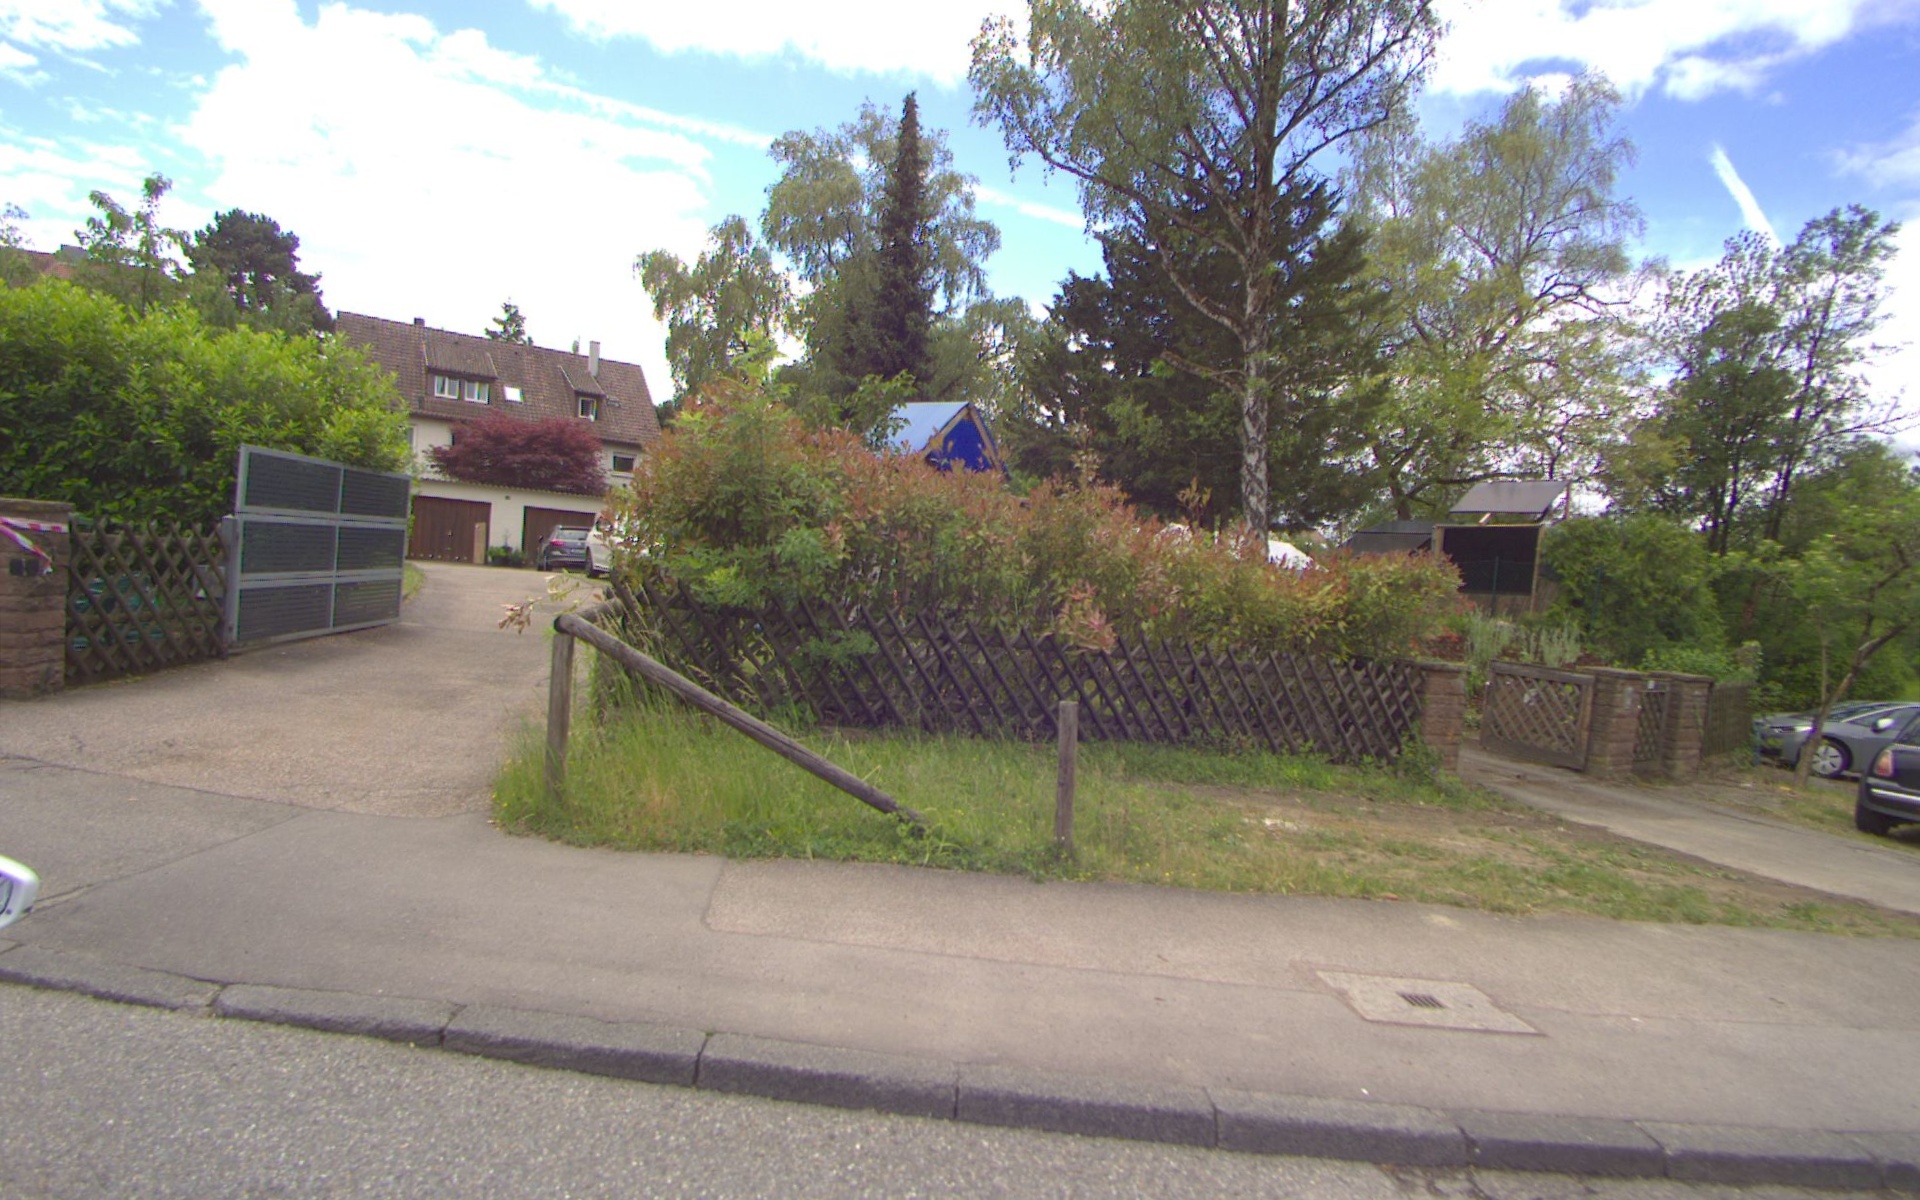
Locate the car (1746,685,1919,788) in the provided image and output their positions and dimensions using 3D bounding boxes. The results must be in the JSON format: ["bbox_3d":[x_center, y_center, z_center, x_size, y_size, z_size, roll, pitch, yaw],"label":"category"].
[{"bbox_3d":[17.122,2.576,18.375,3.927,1.542,1.662,6,-1,22],"label":"car"}]

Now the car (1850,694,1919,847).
[{"bbox_3d":[11.053,1.882,10.488,3.568,1.409,1.641,6,2,-33],"label":"car"}]

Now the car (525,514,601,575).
[{"bbox_3d":[-12.515,-1.679,31.633,1.581,1.528,3.576,1,-2,-32],"label":"car"}]

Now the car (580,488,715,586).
[{"bbox_3d":[-7.442,-1.454,23.696,1.977,2.042,4.247,1,3,-33],"label":"car"}]
